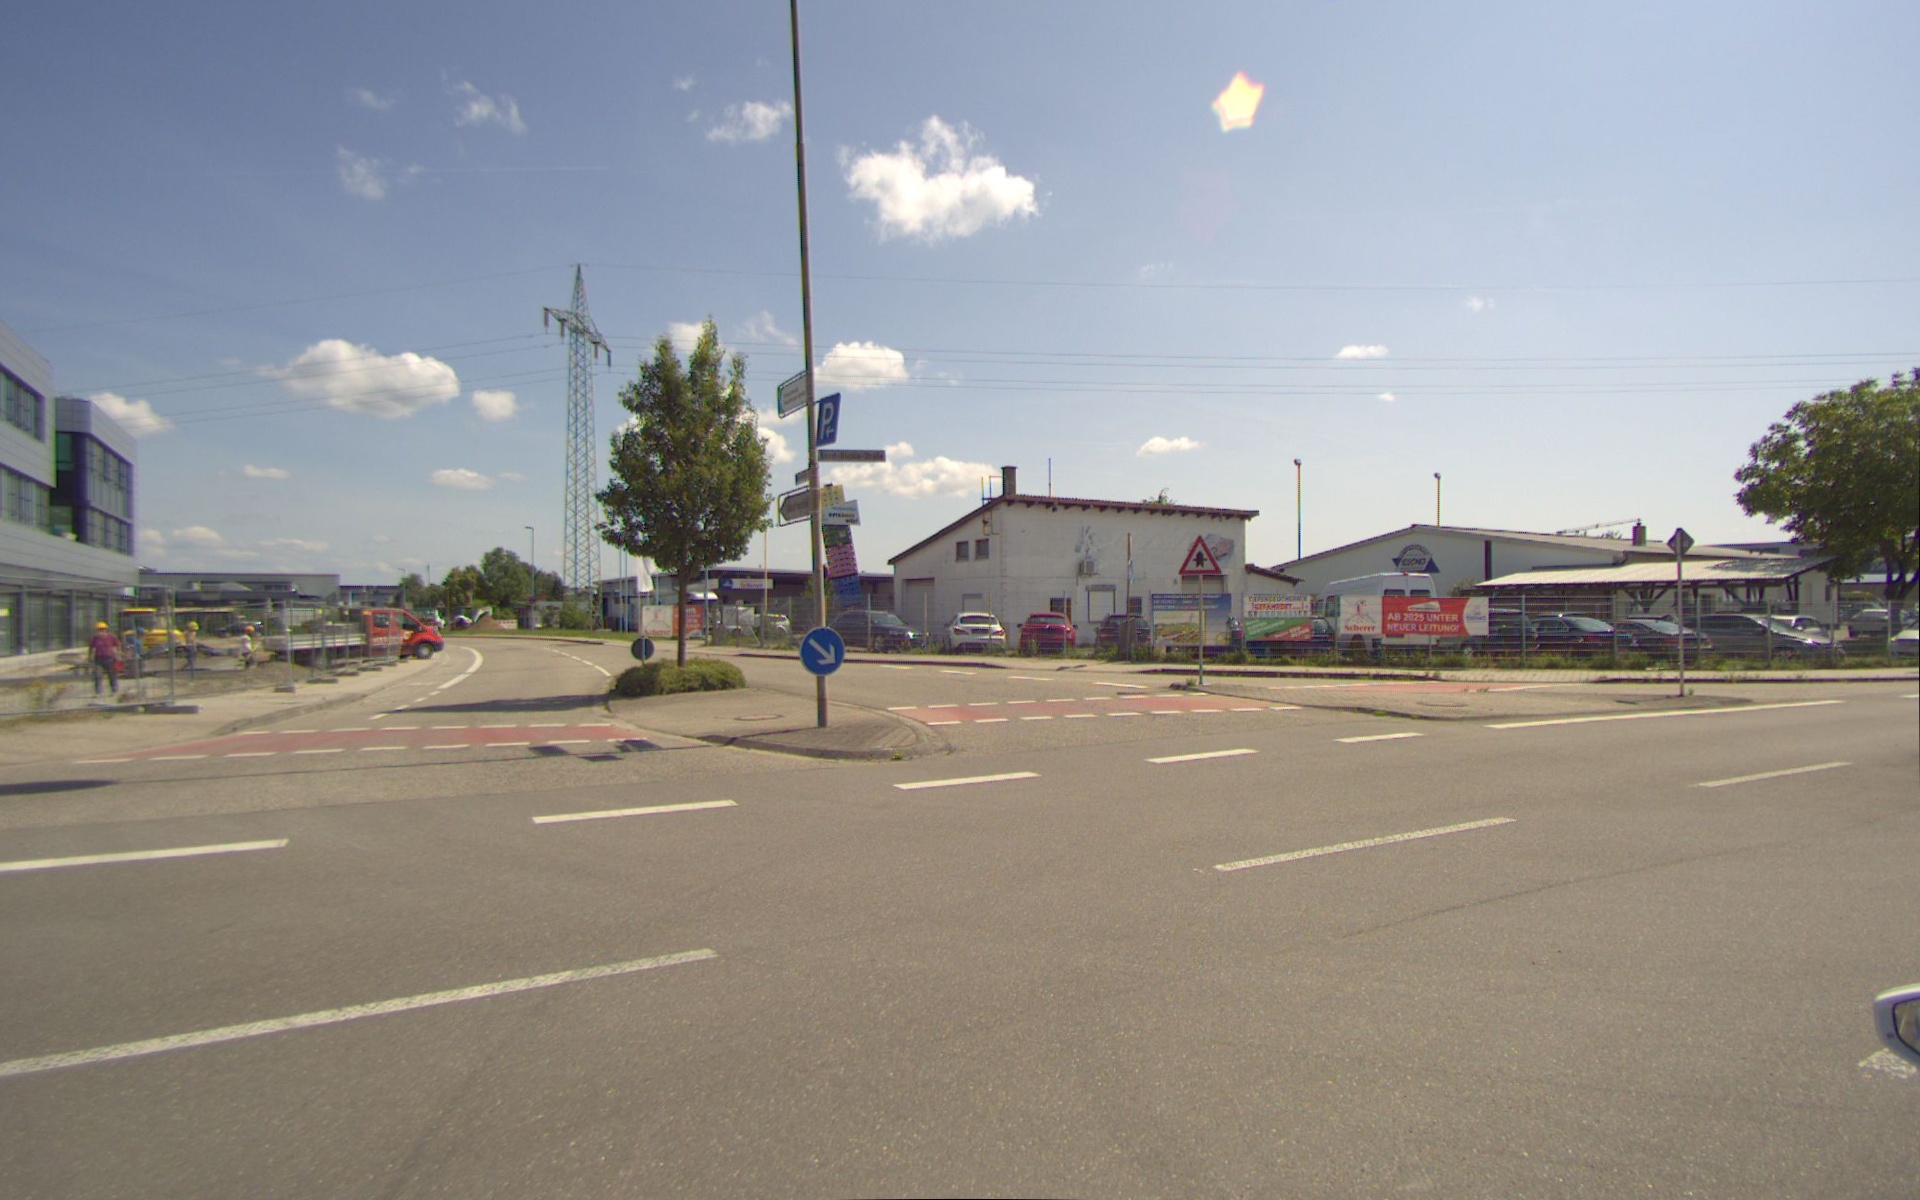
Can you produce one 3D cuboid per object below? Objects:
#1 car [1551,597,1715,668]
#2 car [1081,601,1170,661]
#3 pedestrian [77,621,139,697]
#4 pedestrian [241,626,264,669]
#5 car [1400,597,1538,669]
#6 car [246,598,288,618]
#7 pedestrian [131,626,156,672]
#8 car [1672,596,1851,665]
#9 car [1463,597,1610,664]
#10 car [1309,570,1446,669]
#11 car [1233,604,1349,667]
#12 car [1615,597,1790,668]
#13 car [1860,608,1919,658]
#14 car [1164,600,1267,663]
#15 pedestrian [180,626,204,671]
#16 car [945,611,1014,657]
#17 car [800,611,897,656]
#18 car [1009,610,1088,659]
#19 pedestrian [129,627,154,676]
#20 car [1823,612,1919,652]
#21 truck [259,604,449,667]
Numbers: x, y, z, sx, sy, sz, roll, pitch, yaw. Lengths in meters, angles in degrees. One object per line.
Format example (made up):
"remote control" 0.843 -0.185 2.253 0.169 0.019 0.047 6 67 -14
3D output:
"car" 19.676 0.887 29.595 1.962 1.929 3.997 0 0 -5
"car" 4.948 0.883 30.549 1.961 1.676 3.999 0 0 -1
"pedestrian" -21.628 1.470 25.524 0.994 1.878 0.829 1 -1 -27
"pedestrian" -25.331 1.696 35.977 0.438 1.539 0.525 0 -1 33
"car" 14.667 0.898 29.219 1.961 1.929 3.999 0 0 -1
"car" -80.759 0.951 117.053 3.961 2.185 1.980 1 -1 -36
"pedestrian" -27.430 1.635 33.738 0.408 1.539 0.525 0 -1 33
"car" 24.336 0.865 30.694 1.964 1.929 3.992 0 0 -11
"car" 16.610 0.823 29.214 1.961 1.805 3.999 0 0 -1
"car" 12.121 0.561 29.485 1.962 2.643 4.363 1 -1 -4
"car" 9.606 0.975 29.486 1.961 1.676 3.998 0 0 -3
"car" 21.936 0.884 29.882 1.963 1.929 3.994 0 0 -9
"car" 31.253 1.053 32.386 3.531 1.537 1.827 1 -1 -18
"car" 7.452 0.876 29.689 1.961 1.702 3.999 0 0 -1
"pedestrian" -26.415 1.663 34.558 0.408 1.539 0.525 0 -1 33
"car" 0.555 1.071 32.479 1.693 1.356 3.928 1 -1 -7
"car" -4.213 1.200 37.450 1.980 1.534 3.961 -1 1 -35
"car" 2.674 1.035 31.170 1.961 1.394 4.000 1 -1 -1
"pedestrian" -26.528 1.659 32.568 0.560 1.539 0.468 0 -1 33
"car" 44.905 1.546 49.118 1.821 1.875 3.950 1 -1 -43
"truck" -24.167 1.326 40.369 2.467 2.217 6.090 0 1 33
